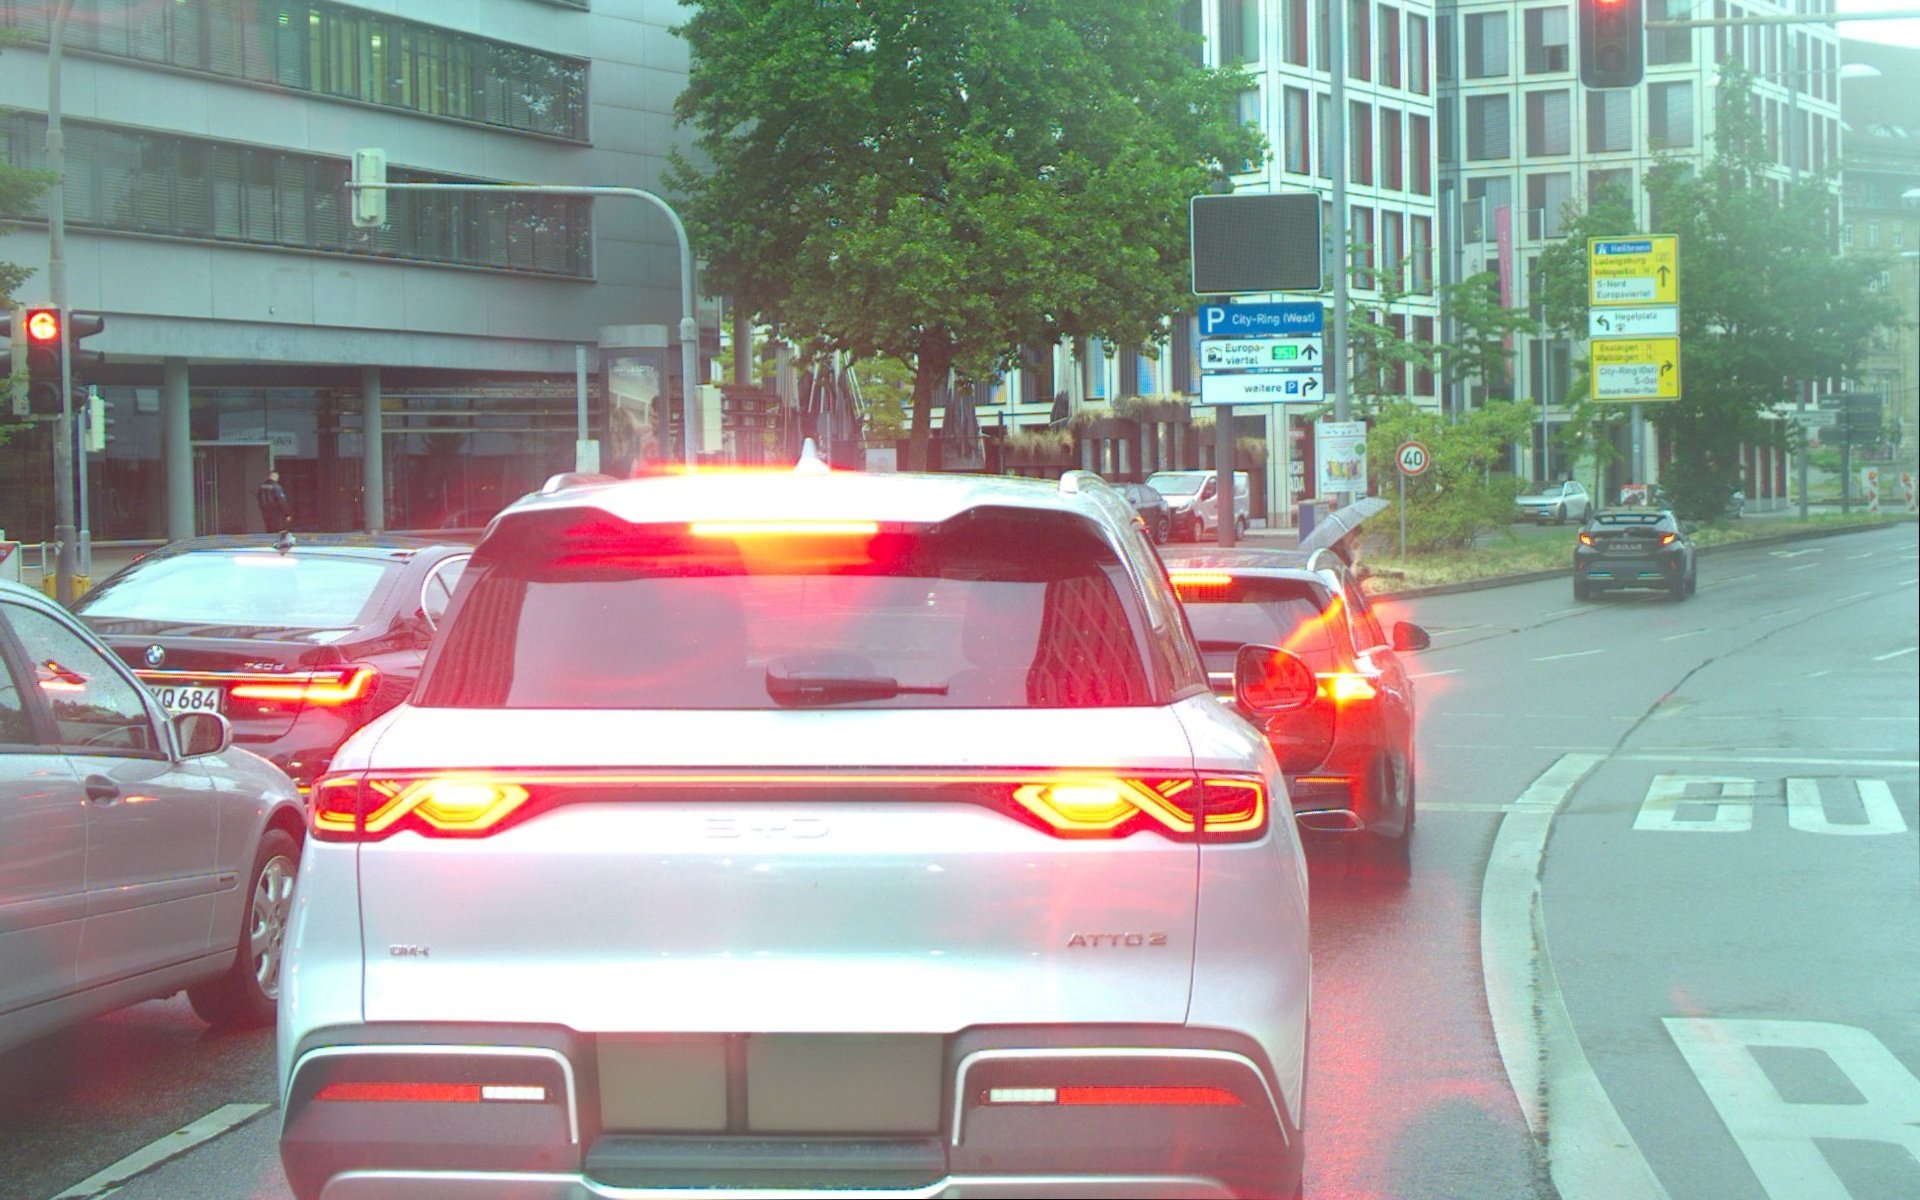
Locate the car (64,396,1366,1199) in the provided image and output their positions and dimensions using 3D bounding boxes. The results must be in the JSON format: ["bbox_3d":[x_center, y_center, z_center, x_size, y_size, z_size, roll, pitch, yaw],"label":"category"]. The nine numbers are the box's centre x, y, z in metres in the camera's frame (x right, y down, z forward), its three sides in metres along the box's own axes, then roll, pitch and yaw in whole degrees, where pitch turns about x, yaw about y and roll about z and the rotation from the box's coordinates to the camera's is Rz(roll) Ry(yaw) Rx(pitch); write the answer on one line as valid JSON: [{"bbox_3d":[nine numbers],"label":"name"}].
[{"bbox_3d":[-0.268,0.503,7.568,1.994,1.703,4.482,-1,1,3],"label":"car"}]

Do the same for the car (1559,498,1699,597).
[{"bbox_3d":[11.137,-0.898,57.032,1.995,1.546,3.998,1,2,15],"label":"car"}]

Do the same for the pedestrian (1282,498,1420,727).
[{"bbox_3d":[2.996,0.086,26.415,0.921,1.732,0.730,0,1,-5],"label":"pedestrian"}]

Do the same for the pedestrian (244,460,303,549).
[{"bbox_3d":[-13.340,-1.853,66.833,0.728,1.721,0.924,0,1,21],"label":"pedestrian"}]

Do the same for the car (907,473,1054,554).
[{"bbox_3d":[0.498,-1.985,77.719,1.996,1.700,3.996,1,3,22],"label":"car"}]

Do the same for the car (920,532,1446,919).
[{"bbox_3d":[1.166,0.460,15.882,1.956,1.525,3.998,0,1,11],"label":"car"}]

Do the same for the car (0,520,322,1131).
[{"bbox_3d":[-3.117,0.541,8.968,1.682,1.481,4.196,0,1,7],"label":"car"}]

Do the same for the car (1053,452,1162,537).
[{"bbox_3d":[3.909,-2.741,90.406,1.739,2.154,4.490,1,1,18],"label":"car"}]

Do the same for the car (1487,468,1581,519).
[{"bbox_3d":[19.973,-3.719,119.508,1.996,1.700,4.303,1,3,27],"label":"car"}]

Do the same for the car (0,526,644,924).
[{"bbox_3d":[-2.908,0.436,15.383,1.956,1.525,3.998,0,1,11],"label":"car"}]

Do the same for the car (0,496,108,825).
[{"bbox_3d":[-5.732,0.305,16.016,1.886,1.590,3.998,0,1,12],"label":"car"}]
